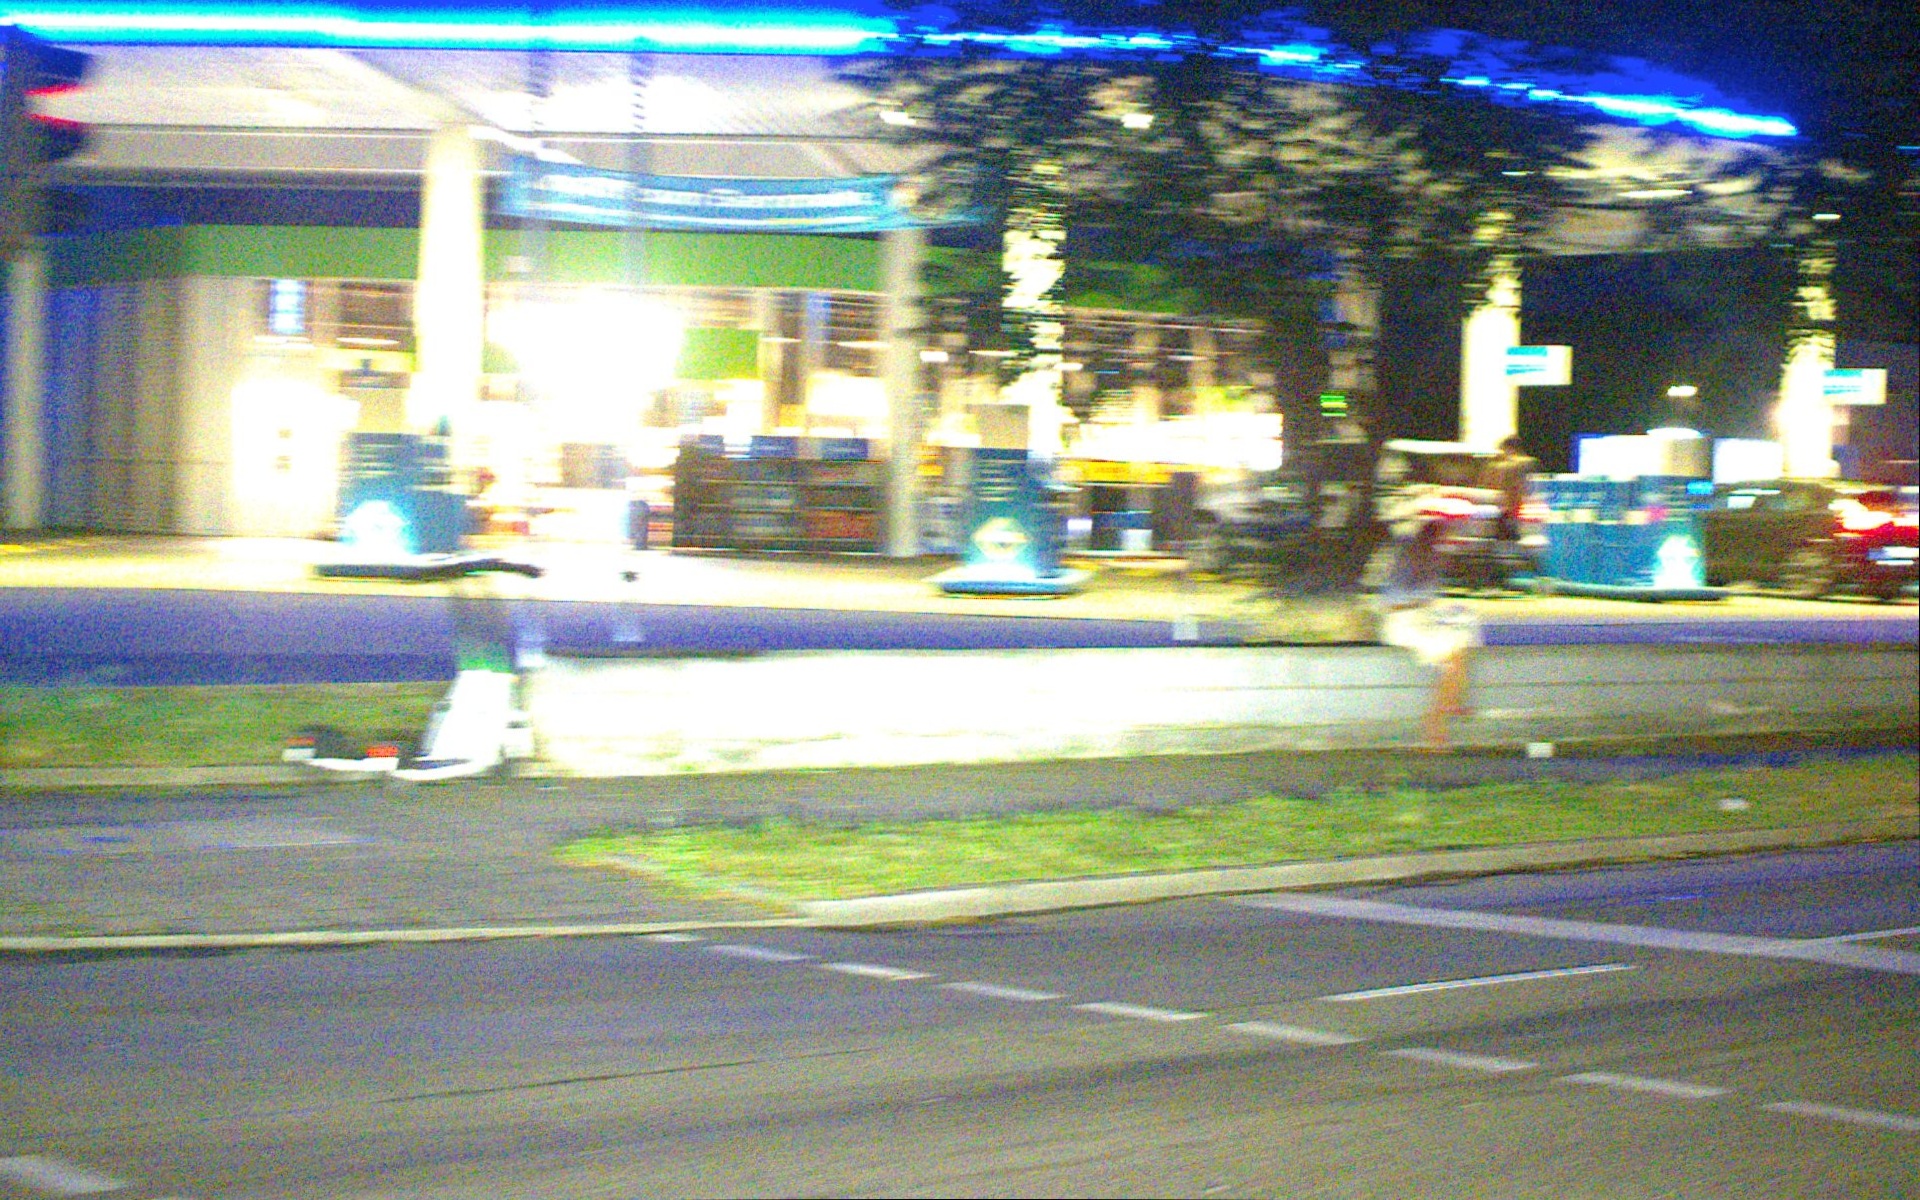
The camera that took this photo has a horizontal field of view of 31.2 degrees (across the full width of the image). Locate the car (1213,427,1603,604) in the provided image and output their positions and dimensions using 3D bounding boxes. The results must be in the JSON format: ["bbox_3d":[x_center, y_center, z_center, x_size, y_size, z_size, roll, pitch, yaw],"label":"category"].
[{"bbox_3d":[5.105,-1.003,39.702,1.994,1.763,4.251,0,4,-37],"label":"car"}]

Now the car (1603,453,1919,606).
[{"bbox_3d":[10.375,-0.910,43.296,1.994,1.657,3.999,0,4,-42],"label":"car"}]

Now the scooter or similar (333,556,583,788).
[{"bbox_3d":[-2.583,0.344,17.880,0.715,1.088,1.680,2,2,13],"label":"scooter or similar"}]
